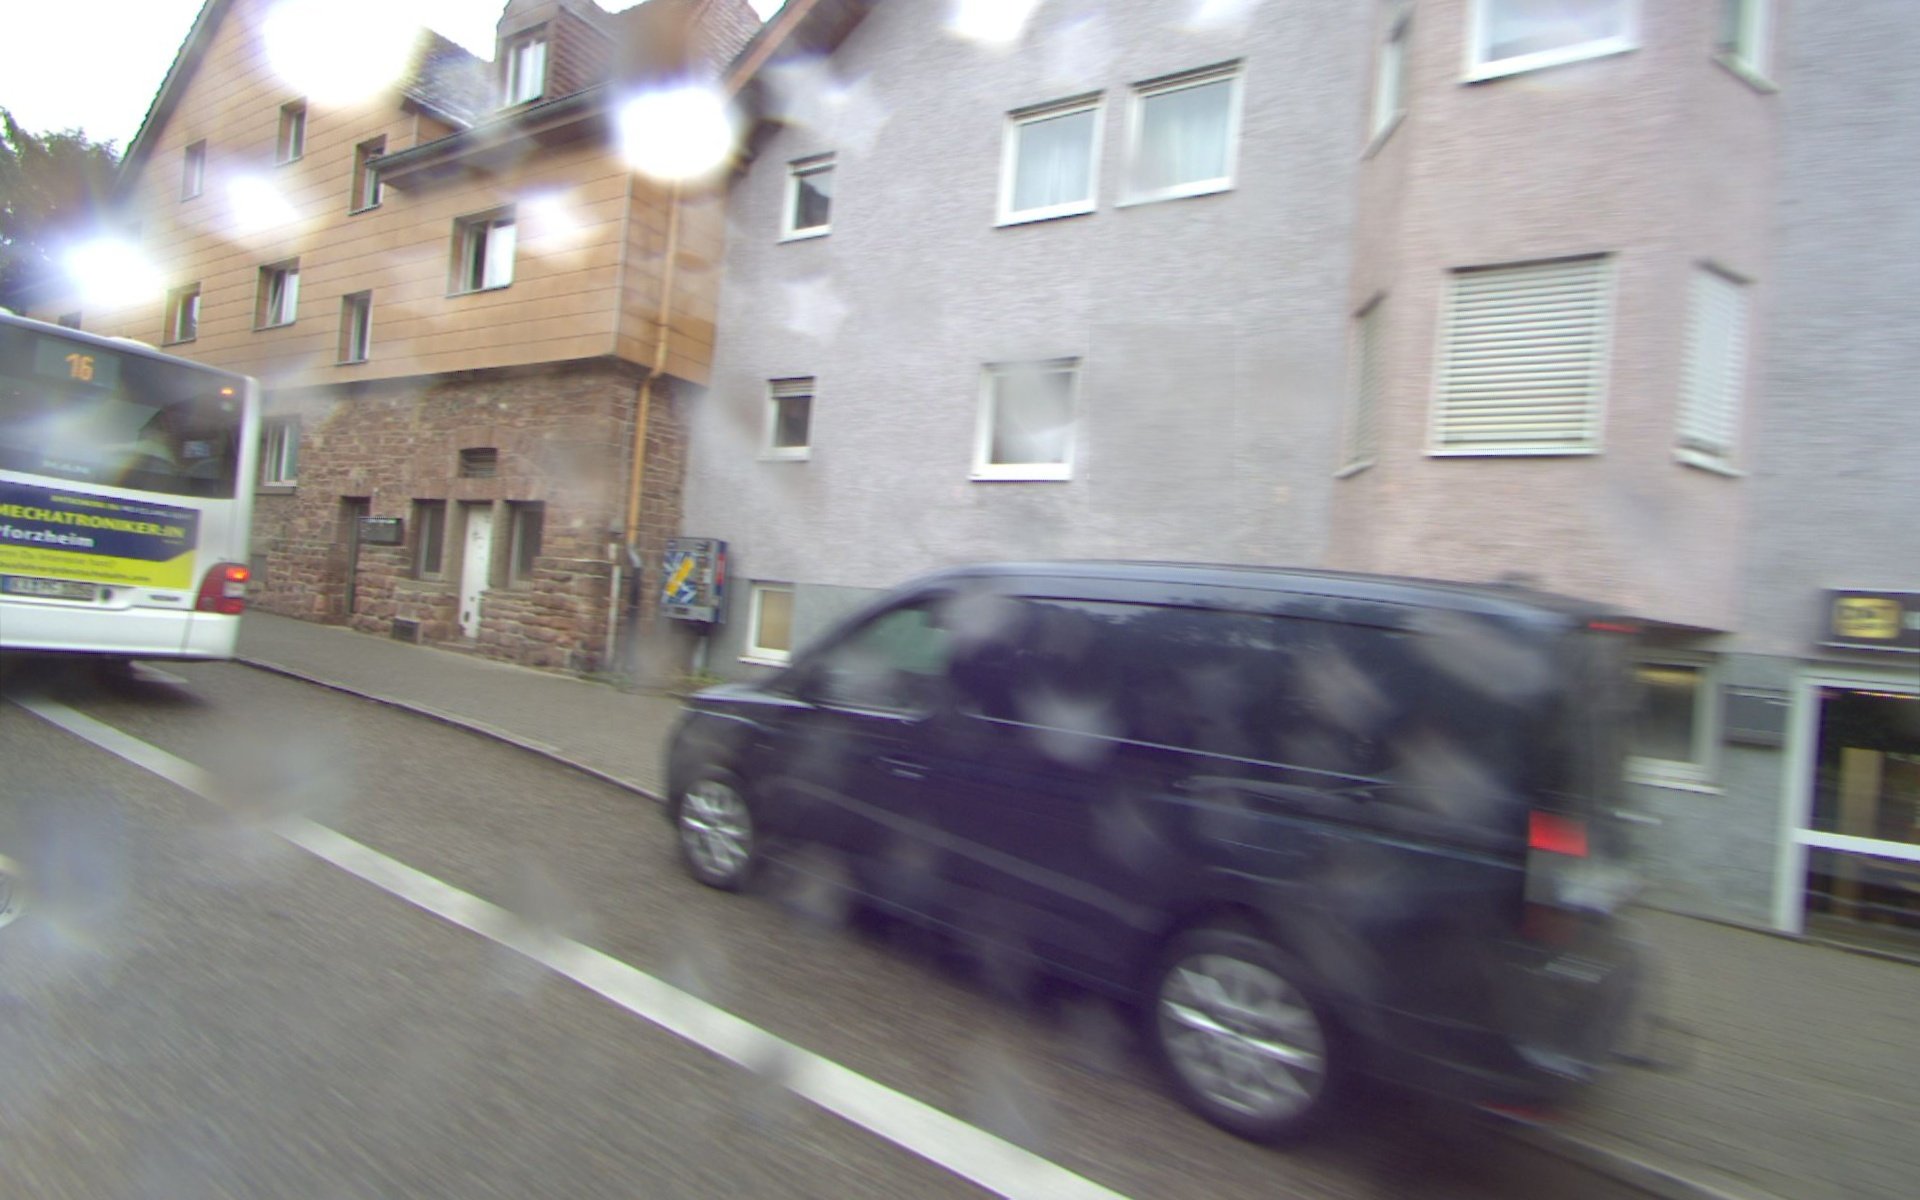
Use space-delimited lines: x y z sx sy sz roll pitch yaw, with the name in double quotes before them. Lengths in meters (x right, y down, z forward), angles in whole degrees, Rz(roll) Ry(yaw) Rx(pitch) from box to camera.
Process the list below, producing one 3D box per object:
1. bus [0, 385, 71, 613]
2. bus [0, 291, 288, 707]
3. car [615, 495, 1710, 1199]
"bus" -16.713 -1.811 15.055 9.637 2.883 2.624 7 0 34
"bus" -9.637 -1.019 9.863 8.167 2.883 2.621 7 0 39
"car" 0.481 0.597 4.795 4.697 1.917 1.921 5 1 42
